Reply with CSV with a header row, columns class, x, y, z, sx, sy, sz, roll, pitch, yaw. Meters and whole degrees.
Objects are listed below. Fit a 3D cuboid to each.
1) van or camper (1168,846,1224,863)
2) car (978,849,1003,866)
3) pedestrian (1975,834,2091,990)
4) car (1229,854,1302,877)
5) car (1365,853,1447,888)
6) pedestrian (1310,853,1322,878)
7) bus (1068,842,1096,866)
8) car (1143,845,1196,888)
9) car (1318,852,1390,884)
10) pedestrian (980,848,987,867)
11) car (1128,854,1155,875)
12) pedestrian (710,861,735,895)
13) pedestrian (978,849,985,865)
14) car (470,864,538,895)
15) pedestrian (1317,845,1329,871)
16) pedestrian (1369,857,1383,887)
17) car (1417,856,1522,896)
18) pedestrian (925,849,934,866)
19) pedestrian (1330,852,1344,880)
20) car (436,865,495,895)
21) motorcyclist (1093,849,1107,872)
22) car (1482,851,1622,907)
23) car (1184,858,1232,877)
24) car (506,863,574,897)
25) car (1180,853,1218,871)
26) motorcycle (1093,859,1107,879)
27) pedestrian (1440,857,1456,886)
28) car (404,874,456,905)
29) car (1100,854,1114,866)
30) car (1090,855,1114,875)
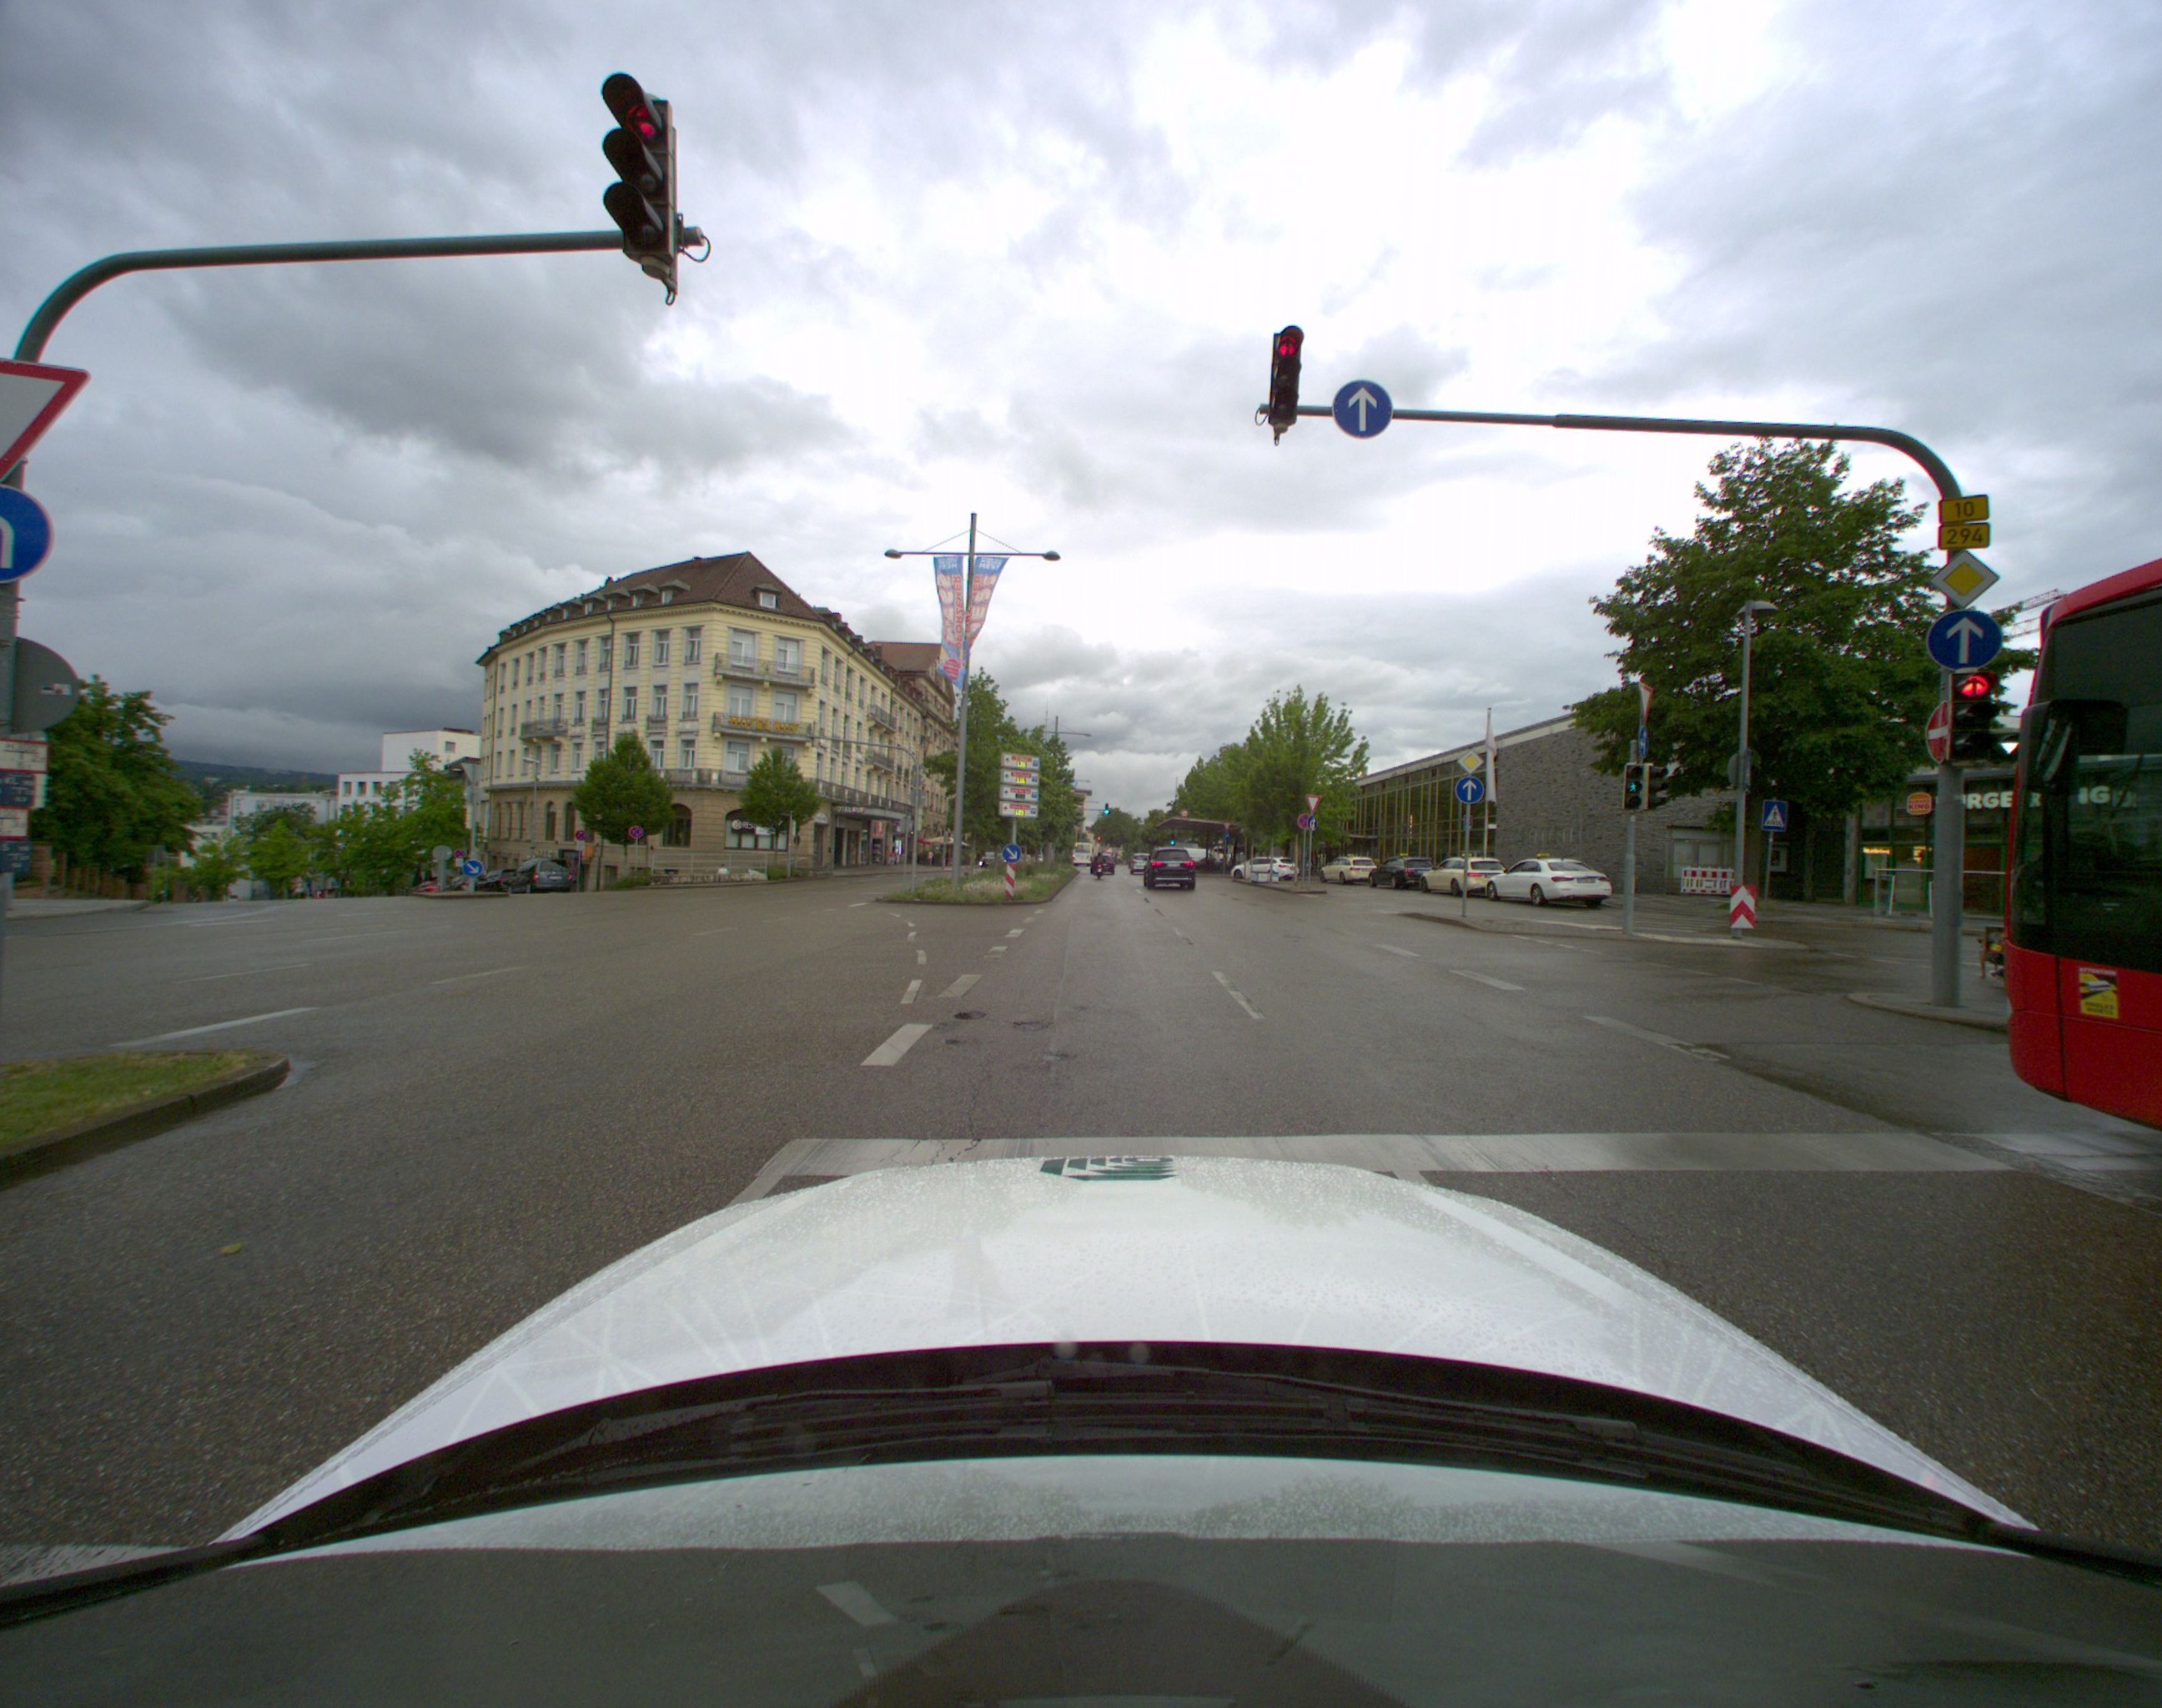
class,x,y,z,sx,sy,sz,roll,pitch,yaw
van or camper,14.490,0.068,102.822,6.787,2.014,2.366,0,-1,-25
car,-8.573,0.349,77.321,1.764,1.530,4.080,0,0,2
pedestrian,10.841,0.624,9.283,0.716,1.674,0.801,0,0,-37
car,11.496,0.710,50.957,1.788,1.385,4.318,0,0,-39
car,14.882,0.709,37.603,1.907,1.524,4.741,0,0,0
pedestrian,18.930,0.935,65.646,0.767,2.014,0.828,0,0,0
bus,0.232,0.037,117.221,3.748,3.209,15.524,0,0,0
car,3.854,0.516,36.063,1.986,1.806,4.691,0,0,2
car,14.679,0.710,44.098,1.990,1.600,4.814,0,0,-5
pedestrian,-10.561,0.377,88.242,0.756,2.014,0.832,0,0,-5
car,4.596,0.782,62.142,1.844,1.567,4.001,0,0,2
pedestrian,-19.816,1.315,45.046,0.860,1.878,1.023,0,0,1
pedestrian,-10.771,0.353,88.290,0.672,1.701,0.634,0,0,1
car,-31.972,1.408,45.108,3.948,1.640,2.013,-1,-1,37
pedestrian,21.802,0.359,73.385,0.839,2.411,0.863,0,0,3
pedestrian,17.151,1.041,47.320,0.563,1.710,0.715,0,0,-3
car,14.784,0.786,31.315,1.840,1.452,4.666,0,0,0
pedestrian,-13.767,0.309,74.156,0.666,1.510,0.513,0,0,-36
pedestrian,19.112,0.888,60.842,0.767,2.014,0.828,0,0,0
car,-36.315,1.484,48.030,3.864,1.640,1.805,0,0,37
motorcyclist,1.089,0.383,46.810,0.761,1.331,0.867,0,0,2
car,14.645,0.721,25.658,1.768,1.589,4.615,0,0,0
car,12.816,1.374,82.140,4.348,1.857,1.988,0,0,-18
car,-27.103,1.265,40.768,3.949,1.568,1.812,0,0,41
car,14.018,0.962,96.501,3.998,2.014,1.988,0,0,-18
motorcycle,1.090,0.837,46.709,0.763,1.077,2.176,0,0,2
pedestrian,20.623,0.967,45.769,0.563,1.646,0.715,0,0,-3
car,-41.191,2.200,51.489,3.575,1.812,1.788,0,0,38
car,3.119,0.709,98.404,1.702,1.474,4.001,0,0,2
car,1.556,0.783,60.259,1.702,1.448,4.001,0,0,2
